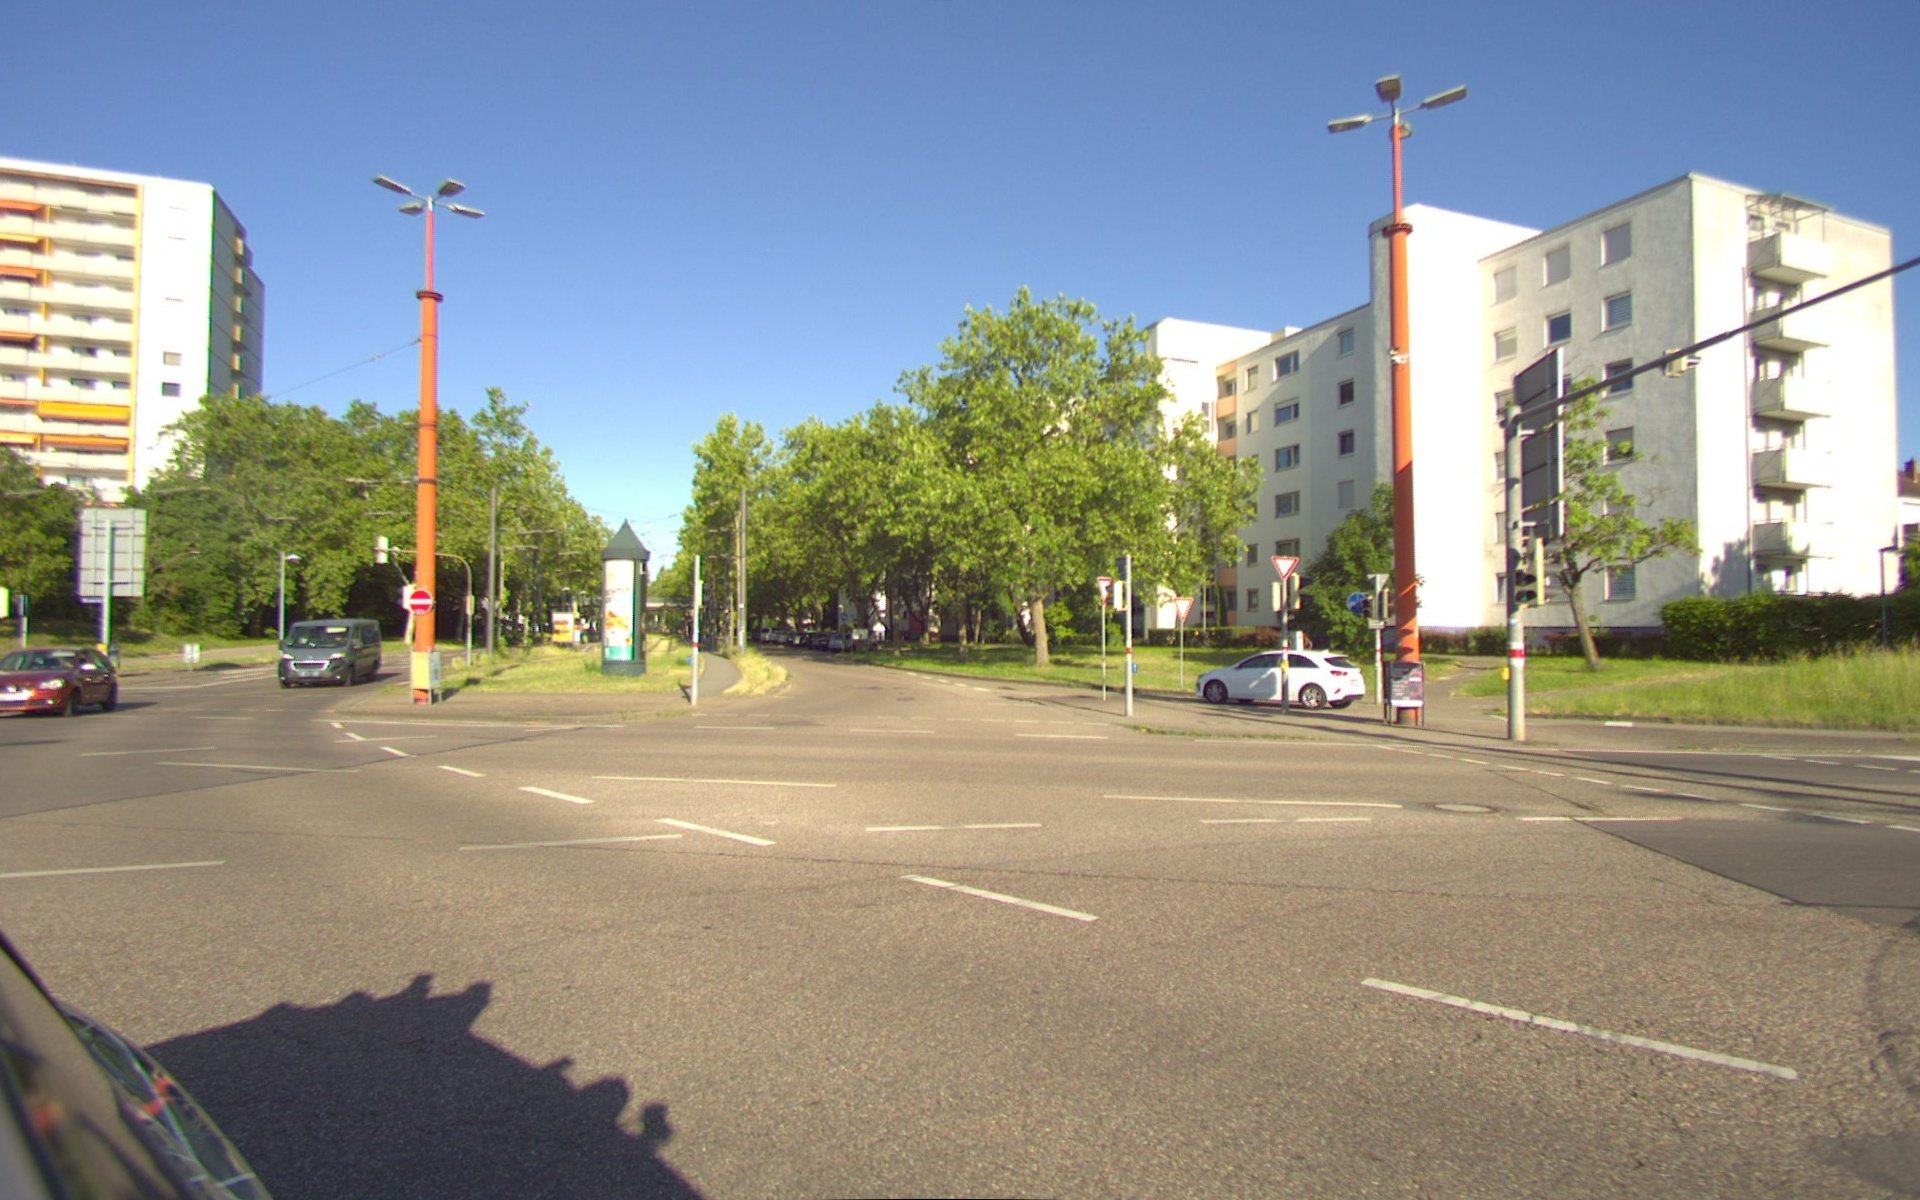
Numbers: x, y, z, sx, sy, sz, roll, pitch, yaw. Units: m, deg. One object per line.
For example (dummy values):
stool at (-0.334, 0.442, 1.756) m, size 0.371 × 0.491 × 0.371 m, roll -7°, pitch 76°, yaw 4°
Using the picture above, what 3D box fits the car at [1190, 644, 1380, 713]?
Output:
car at (8.308, 1.977, 26.067) m, size 4.260 × 1.562 × 1.878 m, roll -1°, pitch -4°, yaw 43°

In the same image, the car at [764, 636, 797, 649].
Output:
car at (-21.882, 5.202, 123.436) m, size 1.789 × 1.511 × 4.007 m, roll -3°, pitch -3°, yaw 31°

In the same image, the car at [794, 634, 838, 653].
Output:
car at (-13.299, 4.054, 93.582) m, size 1.791 × 1.677 × 4.003 m, roll -3°, pitch -3°, yaw 34°

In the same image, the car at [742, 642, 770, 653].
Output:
car at (-29.829, 6.915, 148.115) m, size 1.789 × 1.511 × 4.007 m, roll -3°, pitch -3°, yaw 31°

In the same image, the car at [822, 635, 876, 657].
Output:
car at (-8.073, 3.365, 73.855) m, size 1.809 × 1.498 × 4.005 m, roll -3°, pitch -3°, yaw 32°

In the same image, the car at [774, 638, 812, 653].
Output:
car at (-17.721, 4.865, 107.668) m, size 1.789 × 1.511 × 4.007 m, roll -3°, pitch -3°, yaw 31°

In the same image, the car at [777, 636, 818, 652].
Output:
car at (-16.091, 4.329, 100.466) m, size 1.791 × 1.511 × 4.003 m, roll -3°, pitch -3°, yaw 34°

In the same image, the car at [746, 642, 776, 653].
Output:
car at (-27.712, 6.604, 141.052) m, size 1.789 × 1.511 × 4.007 m, roll -3°, pitch -3°, yaw 31°

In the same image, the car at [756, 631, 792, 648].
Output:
car at (-23.172, 4.918, 126.082) m, size 2.014 × 1.934 × 4.385 m, roll -3°, pitch -3°, yaw 31°

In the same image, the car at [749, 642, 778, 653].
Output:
car at (-26.748, 6.459, 137.808) m, size 1.789 × 1.511 × 4.007 m, roll -3°, pitch -3°, yaw 31°

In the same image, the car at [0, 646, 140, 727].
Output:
car at (-19.680, 1.799, 21.970) m, size 1.742 × 1.570 × 4.741 m, roll 1°, pitch -3°, yaw -25°

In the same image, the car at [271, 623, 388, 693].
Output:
car at (-21.466, 1.930, 34.750) m, size 2.006 × 2.221 × 5.678 m, roll 0°, pitch -2°, yaw -17°

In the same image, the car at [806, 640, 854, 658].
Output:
car at (-10.720, 4.008, 83.649) m, size 1.790 × 1.398 × 4.005 m, roll -3°, pitch -3°, yaw 32°

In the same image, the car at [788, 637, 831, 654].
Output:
car at (-14.396, 4.357, 96.910) m, size 1.791 × 1.511 × 4.003 m, roll -3°, pitch -3°, yaw 34°

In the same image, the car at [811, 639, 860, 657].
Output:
car at (-9.846, 3.789, 80.259) m, size 1.672 × 1.398 × 4.005 m, roll -3°, pitch -3°, yaw 32°

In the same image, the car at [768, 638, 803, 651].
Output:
car at (-20.166, 5.139, 117.161) m, size 1.789 × 1.511 × 4.007 m, roll -3°, pitch -3°, yaw 31°

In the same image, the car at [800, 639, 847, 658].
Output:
car at (-11.642, 4.122, 86.621) m, size 1.791 × 1.511 × 4.003 m, roll -3°, pitch -3°, yaw 34°
